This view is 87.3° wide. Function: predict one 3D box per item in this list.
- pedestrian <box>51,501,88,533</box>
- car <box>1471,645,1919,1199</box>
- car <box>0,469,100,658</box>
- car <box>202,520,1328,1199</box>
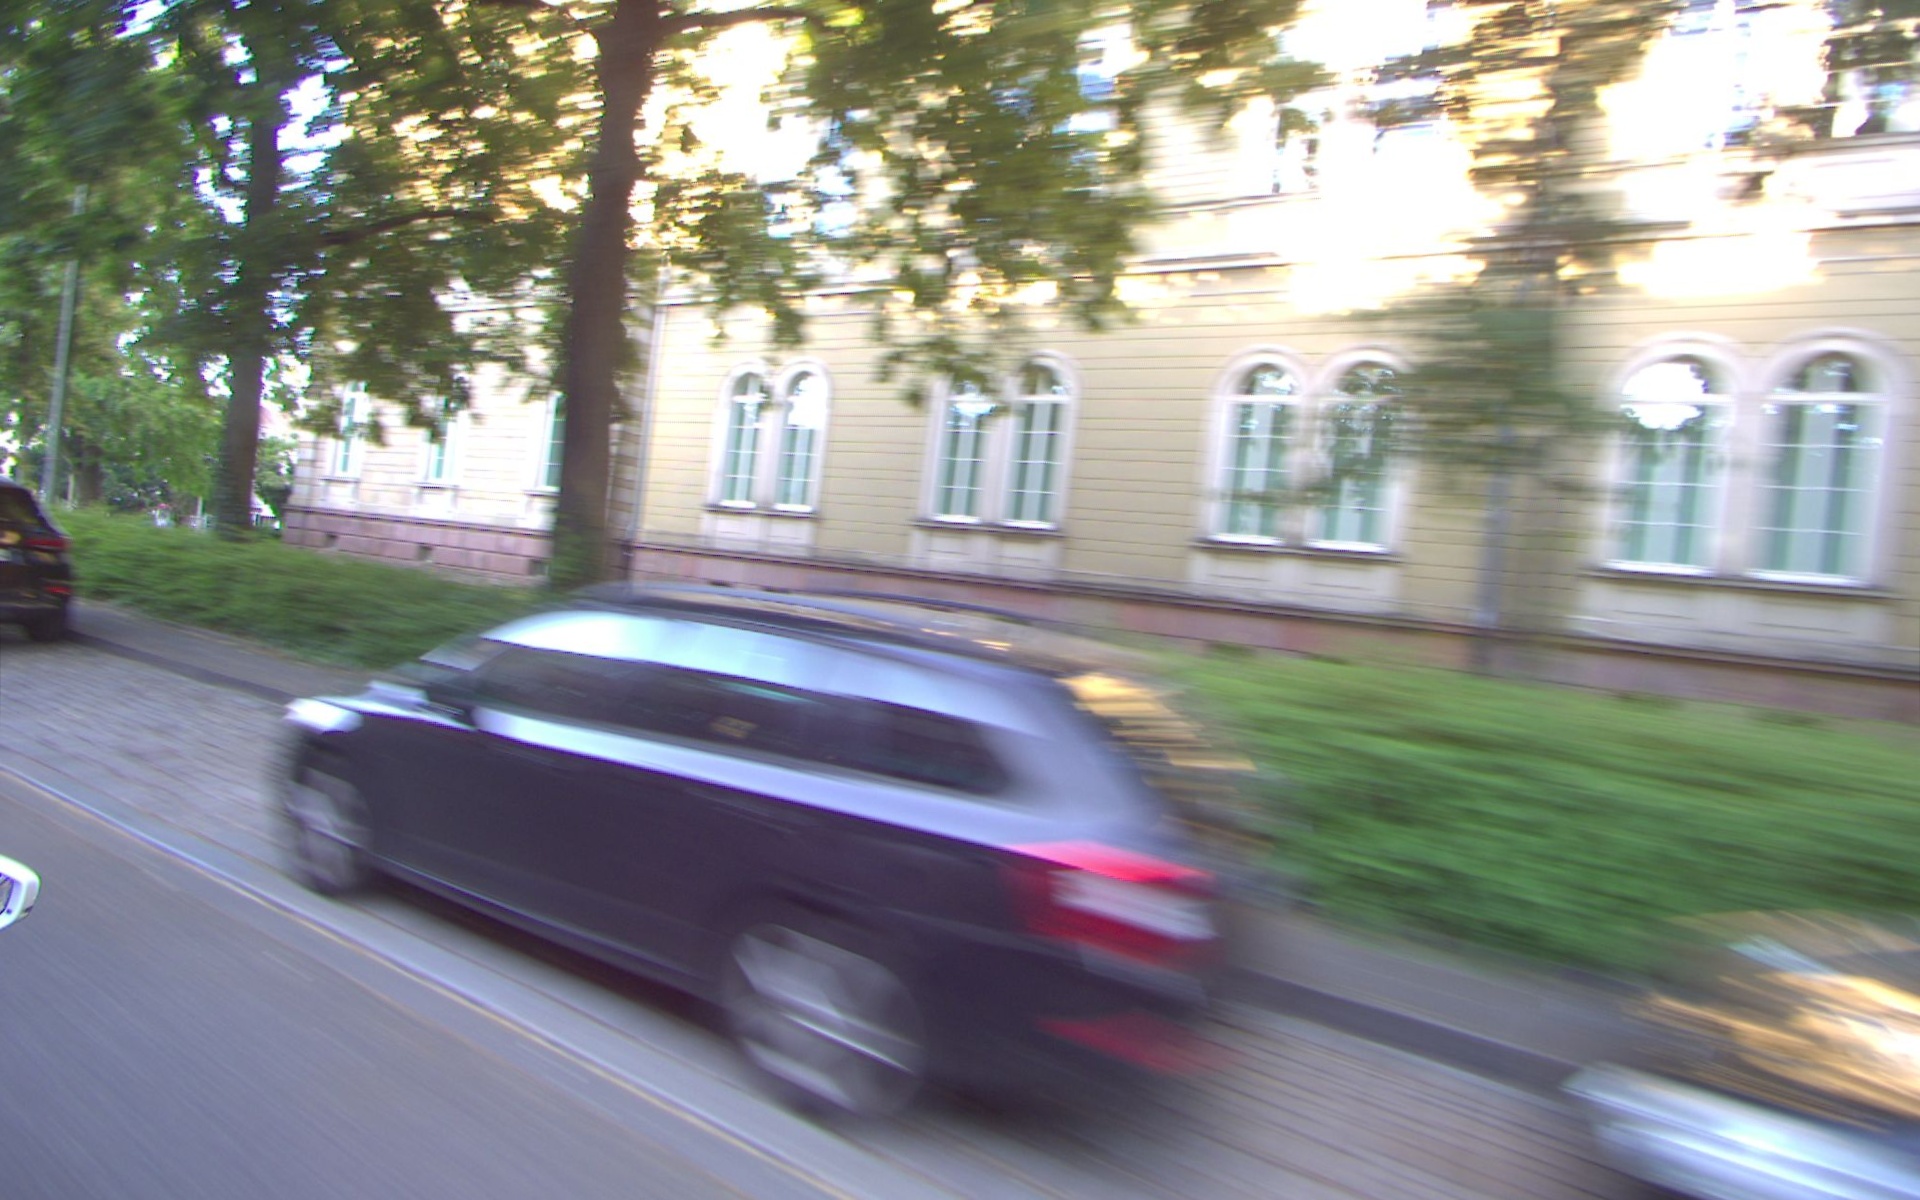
[{"bbox_3d":[-41.951,-3.905,47.396,0.868,1.364,0.920,6,0,15],"label":"pedestrian"},{"bbox_3d":[3.181,1.086,1.514,4.122,1.555,1.722,6,3,33],"label":"car"},{"bbox_3d":[-10.526,-0.533,9.909,4.344,1.674,1.806,7,4,30],"label":"car"},{"bbox_3d":[-1.024,0.640,4.166,4.446,1.525,1.737,6,0,31],"label":"car"}]
